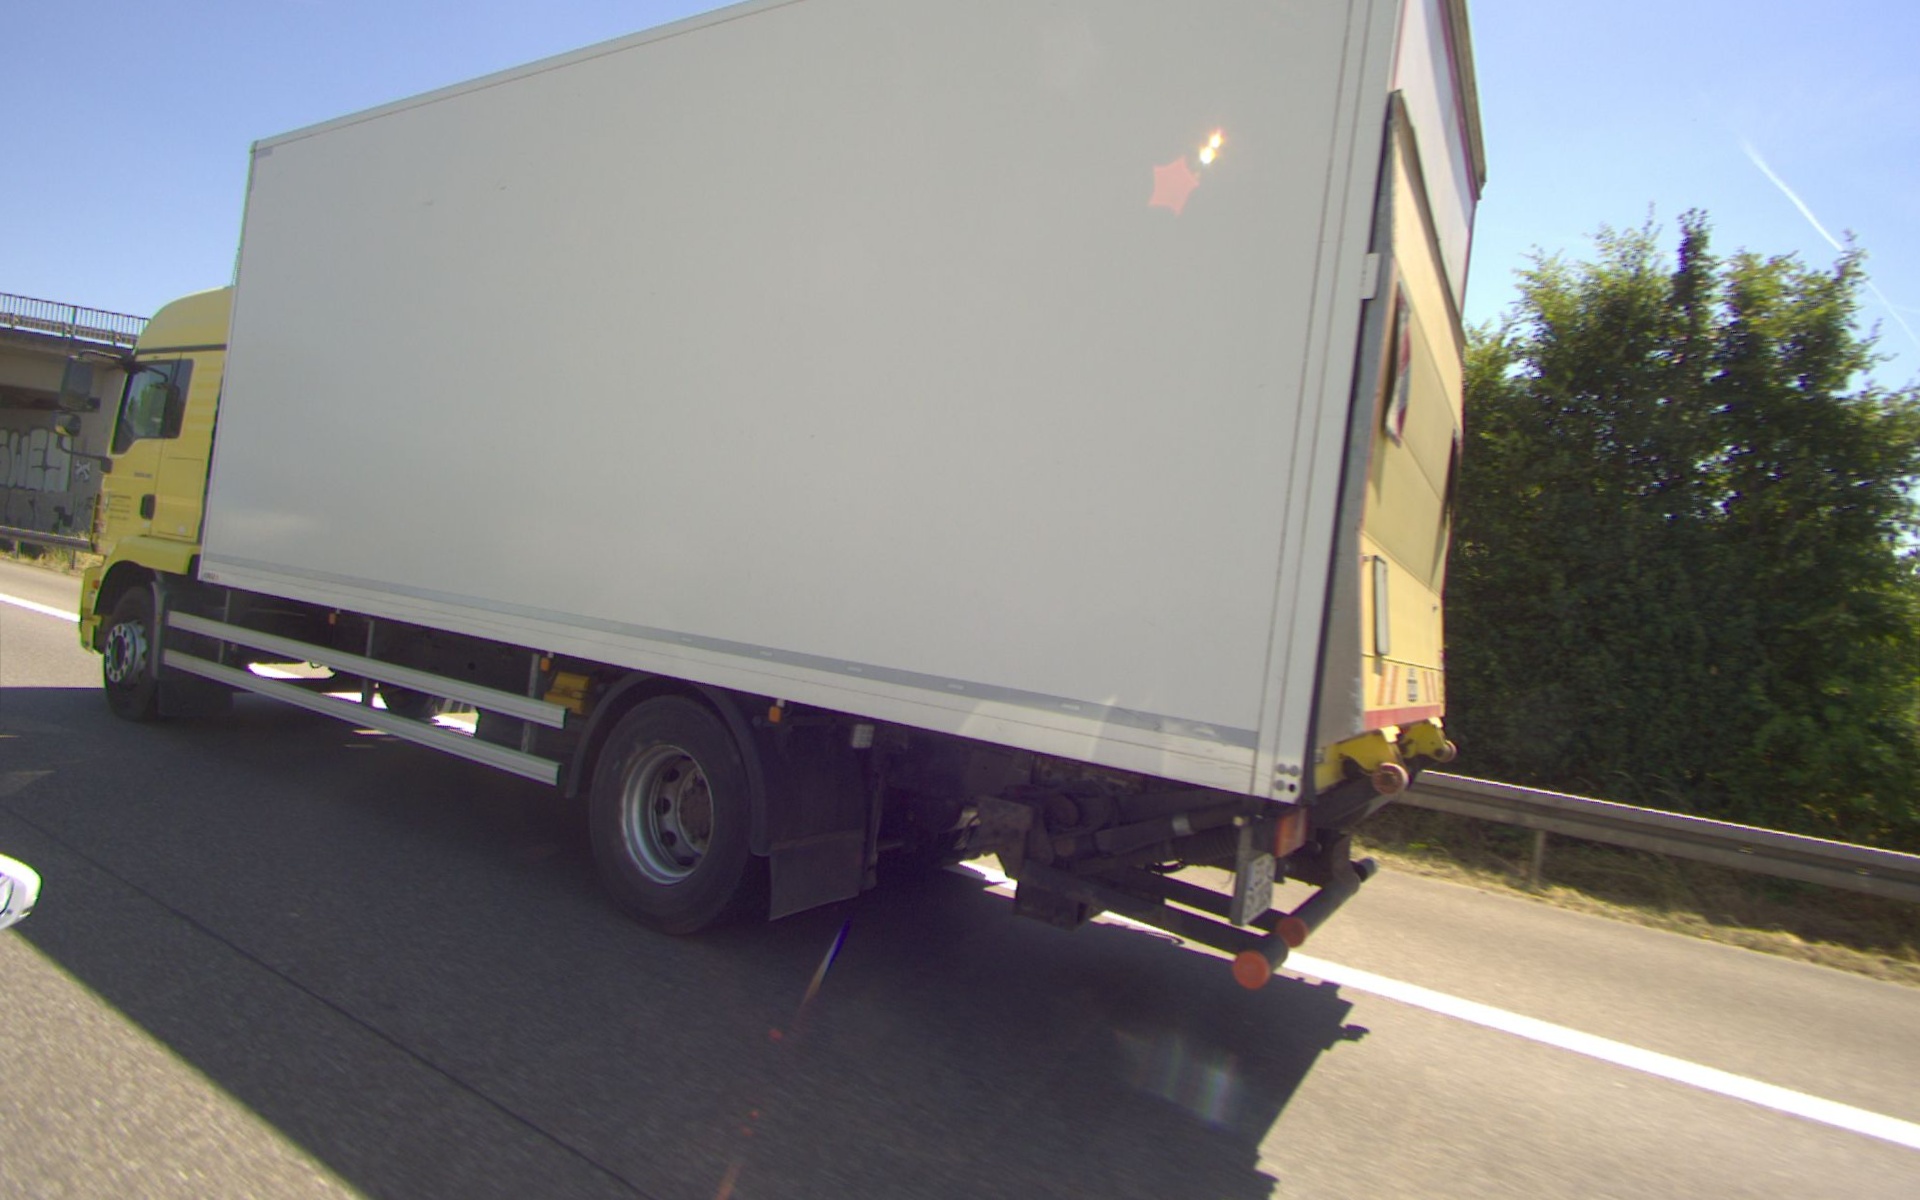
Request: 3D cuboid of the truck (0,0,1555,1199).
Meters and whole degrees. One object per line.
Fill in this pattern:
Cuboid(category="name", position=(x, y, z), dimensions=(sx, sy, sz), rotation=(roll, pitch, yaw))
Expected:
Cuboid(category="truck", position=(-2.463, -0.833, 6.534), dimensions=(10.504, 4.249, 2.939), rotation=(7, -1, 32))

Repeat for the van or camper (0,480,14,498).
Cuboid(category="van or camper", position=(-153.913, -17.925, 158.735), dimensions=(2.398, 2.585, 6.346), rotation=(7, 0, 33))
